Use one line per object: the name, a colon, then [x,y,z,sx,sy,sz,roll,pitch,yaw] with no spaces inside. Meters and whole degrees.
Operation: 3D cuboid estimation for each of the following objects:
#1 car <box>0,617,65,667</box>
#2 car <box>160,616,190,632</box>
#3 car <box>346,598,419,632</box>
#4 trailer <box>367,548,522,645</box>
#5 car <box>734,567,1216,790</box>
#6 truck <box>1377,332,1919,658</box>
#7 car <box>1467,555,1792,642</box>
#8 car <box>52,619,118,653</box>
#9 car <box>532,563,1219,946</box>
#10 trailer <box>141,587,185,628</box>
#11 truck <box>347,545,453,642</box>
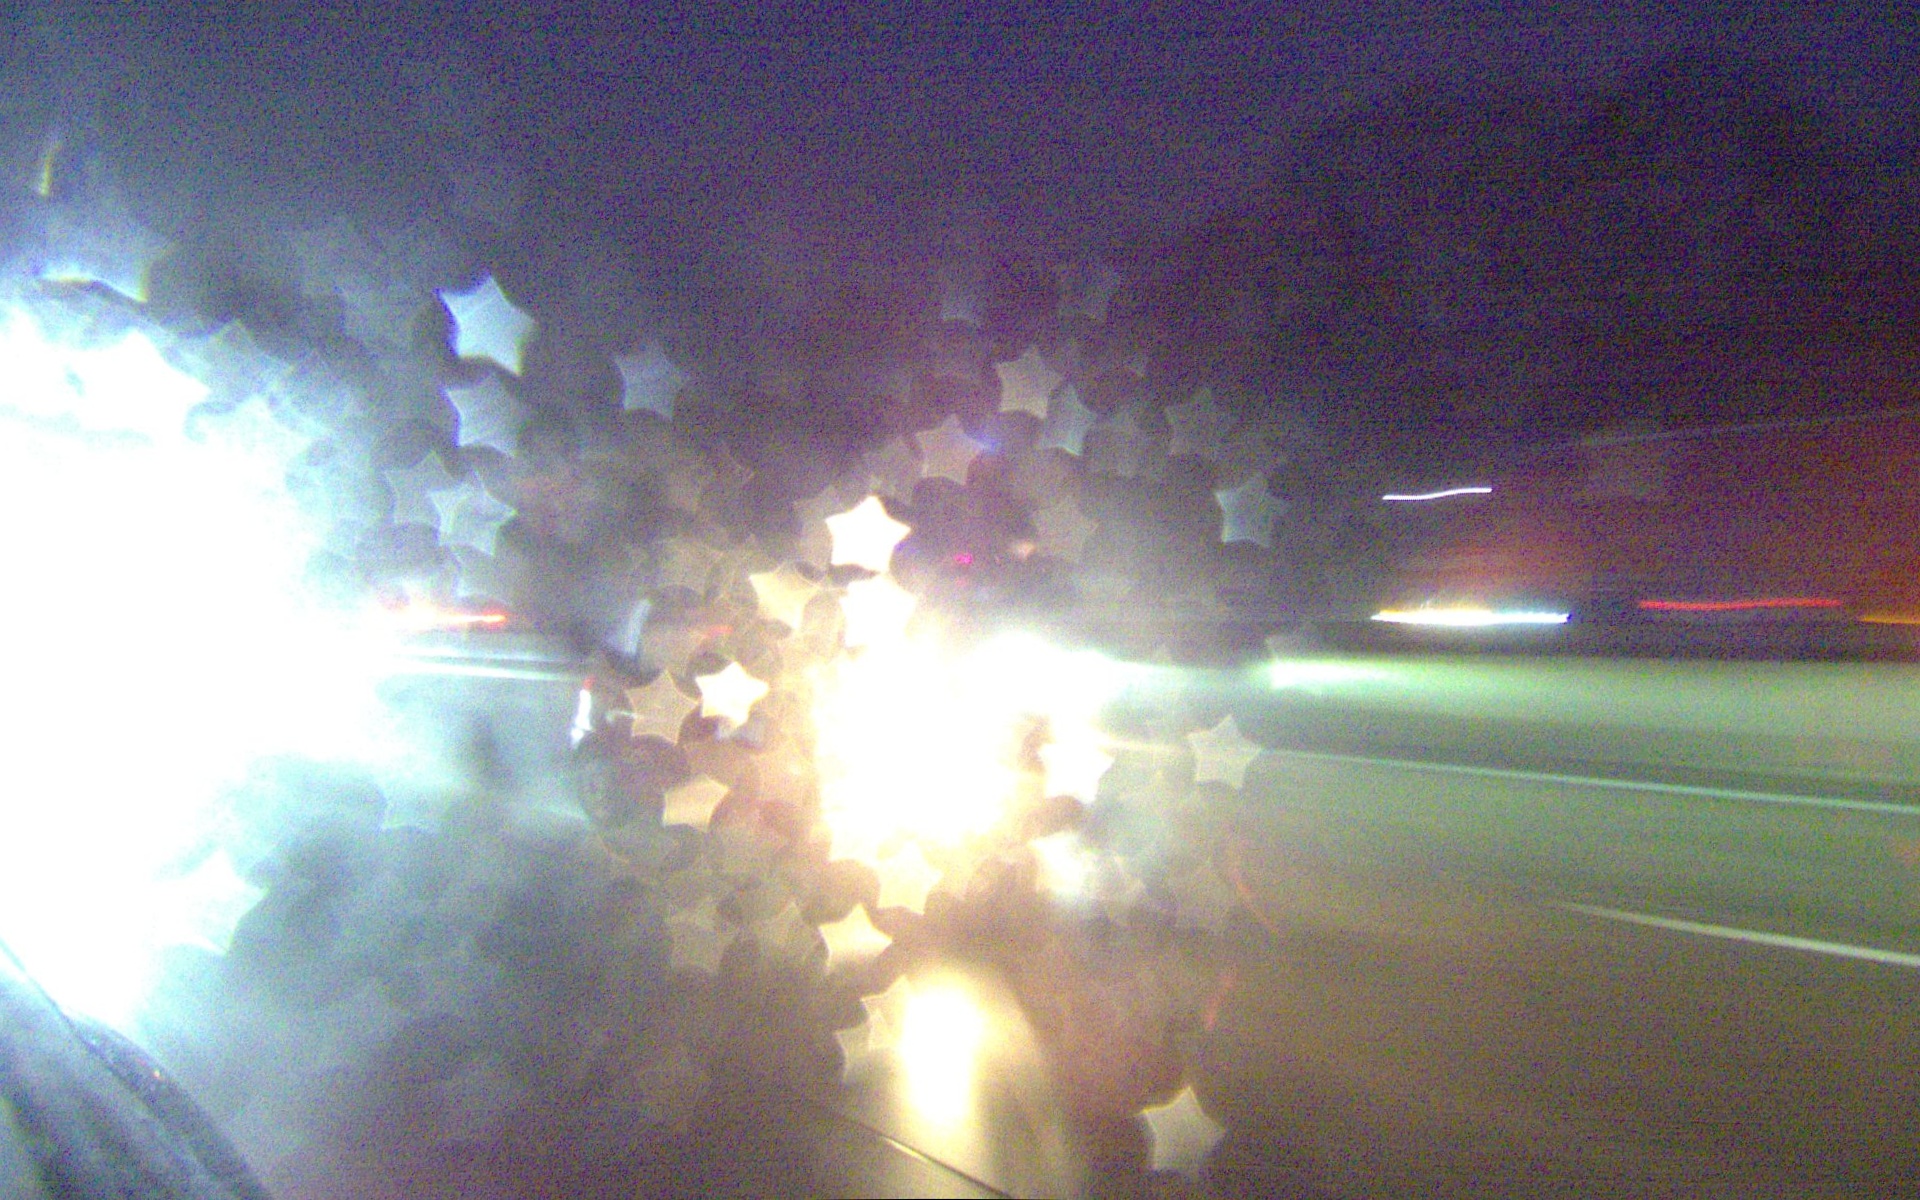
car: [-34.248,1.491,37.074,1.971,1.689,4.003,-2,0,-44]
car: [-90.108,2.739,116.131,4.253,1.655,1.972,-1,0,43]
car: [-28.822,0.749,50.446,5.016,1.491,1.689,-1,2,43]
trailer: [-32.544,-0.125,63.402,13.746,5.485,4.122,-1,0,43]
car: [-0.054,0.646,10.503,4.885,1.790,1.973,-1,0,41]
truck: [14.313,-1.762,19.707,10.464,5.178,4.297,-2,4,40]
car: [10.876,-0.011,16.610,4.270,1.230,1.690,-1,2,41]
car: [-45.190,1.811,52.247,3.873,1.621,2.278,-1,1,45]
car: [-0.757,0.675,6.365,4.231,1.606,1.896,-1,-1,41]
trailer: [-129.769,1.202,164.668,14.415,6.172,3.424,-1,4,45]
truck: [-37.845,-0.400,68.301,7.345,6.174,4.122,-1,0,43]
